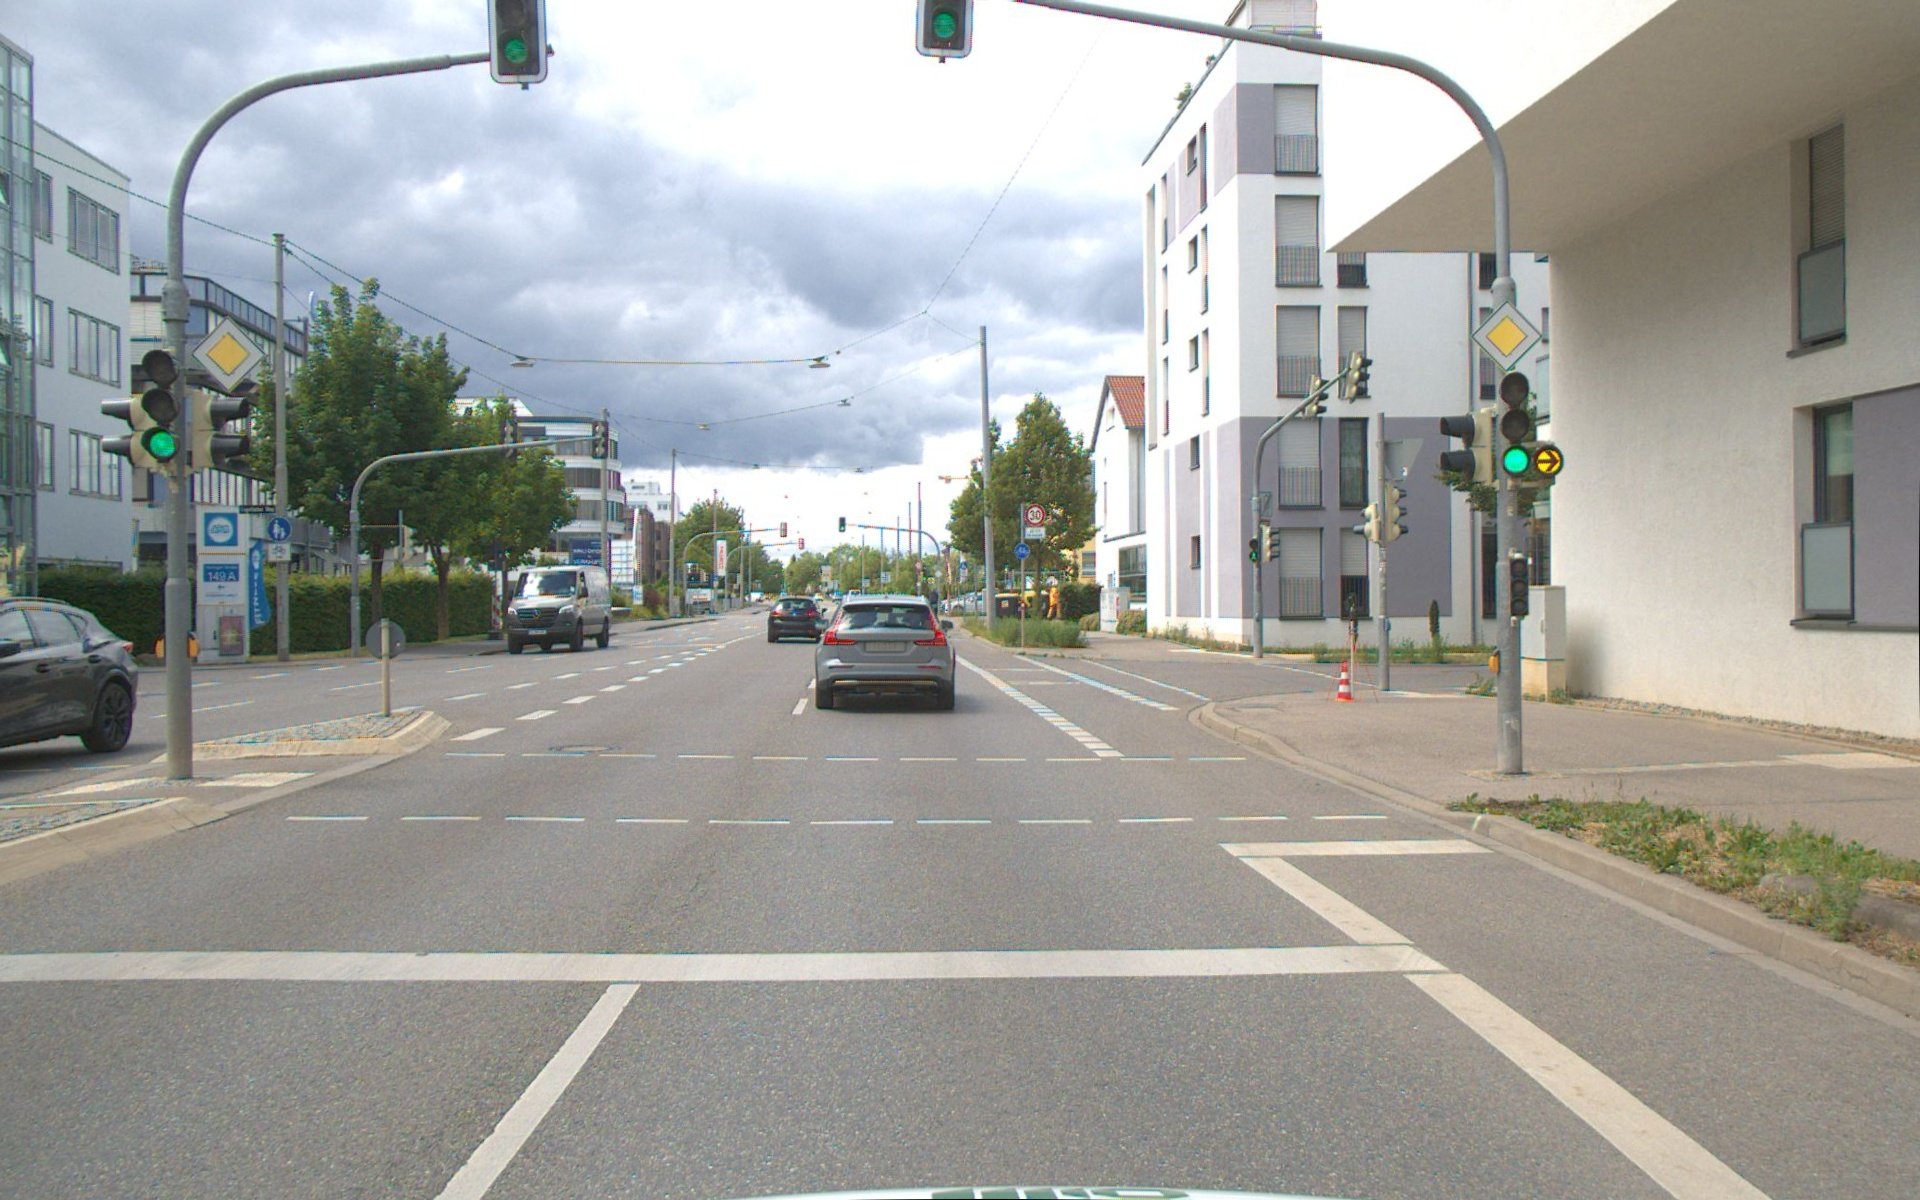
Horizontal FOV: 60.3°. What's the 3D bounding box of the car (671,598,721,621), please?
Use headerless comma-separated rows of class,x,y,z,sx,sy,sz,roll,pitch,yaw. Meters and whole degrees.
car,-22.311,0.793,139.850,4.022,1.421,1.903,-7,2,-11

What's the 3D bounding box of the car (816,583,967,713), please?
car,-0.972,0.616,22.608,1.858,1.581,3.997,1,-1,-4

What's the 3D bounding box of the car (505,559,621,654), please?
car,-11.571,0.168,48.630,2.100,2.515,6.070,-2,0,-2

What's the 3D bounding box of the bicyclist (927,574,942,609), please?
bicyclist,-1.272,-0.449,83.253,0.625,1.704,0.889,-4,0,-3

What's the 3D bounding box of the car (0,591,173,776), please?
car,-9.130,0.755,14.975,1.847,1.579,4.539,-2,-1,-1

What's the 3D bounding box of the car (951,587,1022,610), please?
car,1.726,-0.095,110.365,4.604,1.519,2.044,0,1,-4

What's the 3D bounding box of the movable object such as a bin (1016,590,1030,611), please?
movable object such as a bin,3.115,0.014,82.259,0.556,1.044,0.404,-2,-1,34

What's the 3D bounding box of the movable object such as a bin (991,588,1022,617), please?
movable object such as a bin,2.291,0.123,81.335,1.291,1.385,1.252,-1,-1,13

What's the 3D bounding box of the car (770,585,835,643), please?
car,-5.000,0.444,52.587,1.955,1.747,3.995,1,-1,-6

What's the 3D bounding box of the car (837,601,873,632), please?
car,-5.930,0.928,93.230,1.954,1.724,3.997,1,-1,-4

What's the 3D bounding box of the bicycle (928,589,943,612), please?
bicycle,-1.234,0.011,83.064,0.625,1.081,1.976,-4,0,-3

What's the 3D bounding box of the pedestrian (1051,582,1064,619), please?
pedestrian,4.712,0.026,80.100,0.496,1.796,0.501,1,-1,13

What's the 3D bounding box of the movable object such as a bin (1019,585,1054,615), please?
movable object such as a bin,3.780,0.022,81.745,1.296,1.460,1.247,-2,-1,34
